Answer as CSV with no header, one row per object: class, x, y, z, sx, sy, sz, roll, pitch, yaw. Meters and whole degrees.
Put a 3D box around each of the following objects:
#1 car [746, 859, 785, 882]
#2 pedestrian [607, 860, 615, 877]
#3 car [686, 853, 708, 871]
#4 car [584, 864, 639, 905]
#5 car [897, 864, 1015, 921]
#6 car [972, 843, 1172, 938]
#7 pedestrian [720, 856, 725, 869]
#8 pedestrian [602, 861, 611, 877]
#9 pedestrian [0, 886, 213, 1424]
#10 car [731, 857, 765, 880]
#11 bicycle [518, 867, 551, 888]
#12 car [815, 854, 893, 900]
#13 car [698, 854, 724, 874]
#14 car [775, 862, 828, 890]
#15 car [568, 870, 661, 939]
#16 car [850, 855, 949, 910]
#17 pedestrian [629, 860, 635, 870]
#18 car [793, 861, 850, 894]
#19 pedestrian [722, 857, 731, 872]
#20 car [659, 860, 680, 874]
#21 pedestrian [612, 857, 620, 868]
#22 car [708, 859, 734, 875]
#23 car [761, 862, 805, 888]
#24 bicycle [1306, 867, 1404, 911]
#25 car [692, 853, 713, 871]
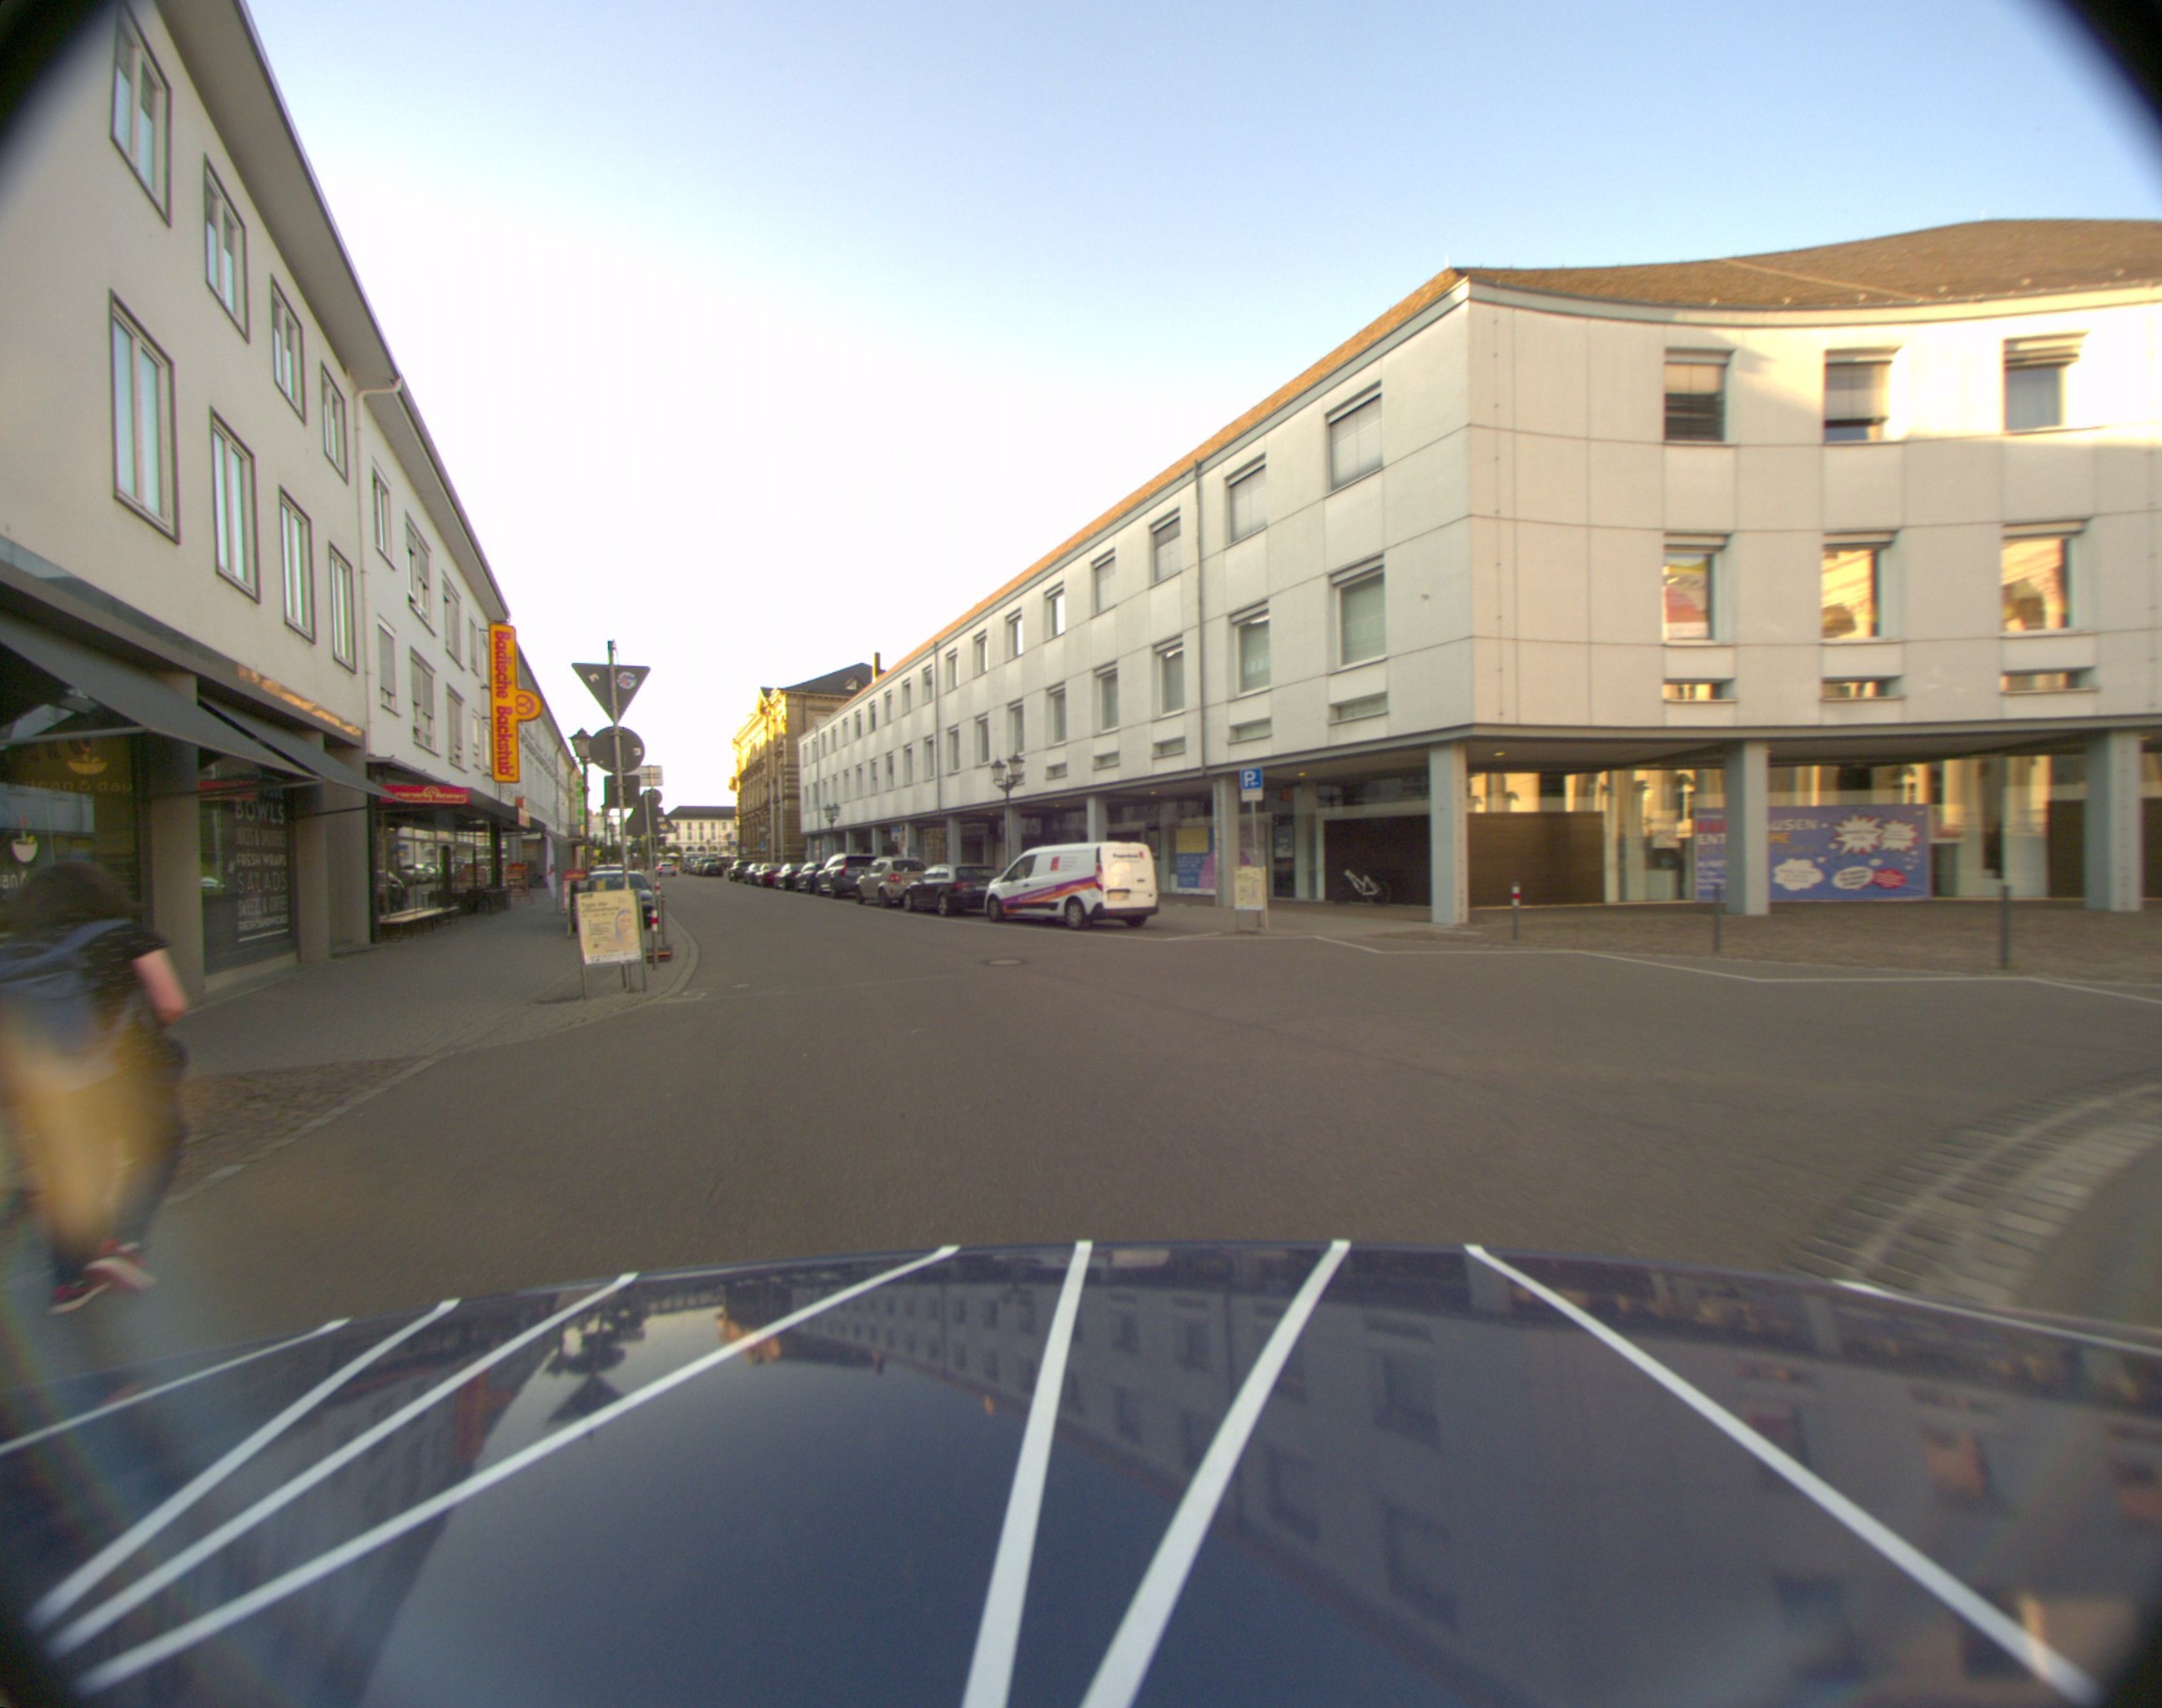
car,-20.937,1.084,50.339,1.793,1.400,4.078,-2,1,-30
pedestrian,-50.774,1.596,82.139,0.623,1.779,0.911,-2,1,-27
car,-50.064,1.001,98.987,2.003,2.159,5.194,-2,1,-33
car,-19.275,1.203,31.322,1.768,1.514,3.668,-2,1,-30
car,-3.596,1.009,21.254,1.686,1.346,4.095,-2,1,-33
car,-0.371,0.717,17.163,2.003,1.805,4.771,-3,1,-38
pedestrian,-47.915,1.180,101.556,0.610,1.720,0.701,-2,1,-29
pedestrian,-51.910,1.647,83.112,0.717,1.720,0.871,-2,1,-28
pedestrian,-3.640,0.951,2.576,0.693,1.638,0.694,-2,1,-31
car,-24.522,1.049,55.907,1.793,1.605,4.156,-2,1,-30
bicycle,-35.141,1.488,48.914,1.665,1.245,0.438,-2,1,-33
car,-9.270,0.860,30.810,2.003,1.718,4.505,0,0,-30
car,-40.464,1.073,83.021,2.003,2.066,4.977,-2,2,-31
car,-14.974,1.139,40.630,2.003,1.346,3.990,0,0,-30
car,-11.870,1.182,19.253,1.810,1.455,4.106,-1,1,-34
car,-6.130,0.875,25.289,2.003,1.652,3.990,-1,1,-33
pedestrian,-72.371,1.727,122.526,0.685,1.557,0.651,-2,1,-33
car,-12.204,1.052,35.632,1.681,1.392,3.990,-1,0,-31
pedestrian,-42.199,1.257,90.493,0.716,1.720,0.894,-5,3,-29
car,-45.191,1.433,83.362,1.773,1.414,3.990,-1,0,-32
pedestrian,-76.754,1.394,125.496,0.667,1.720,0.766,-1,1,12
car,-36.794,1.326,77.562,2.003,1.486,4.154,-2,1,-30
car,-17.693,1.176,44.974,1.793,1.400,4.078,-2,1,-30
bicycle,6.817,0.849,19.054,0.736,0.978,2.329,-3,1,-32
car,-46.464,0.941,93.236,2.003,2.075,5.194,-2,1,-30
